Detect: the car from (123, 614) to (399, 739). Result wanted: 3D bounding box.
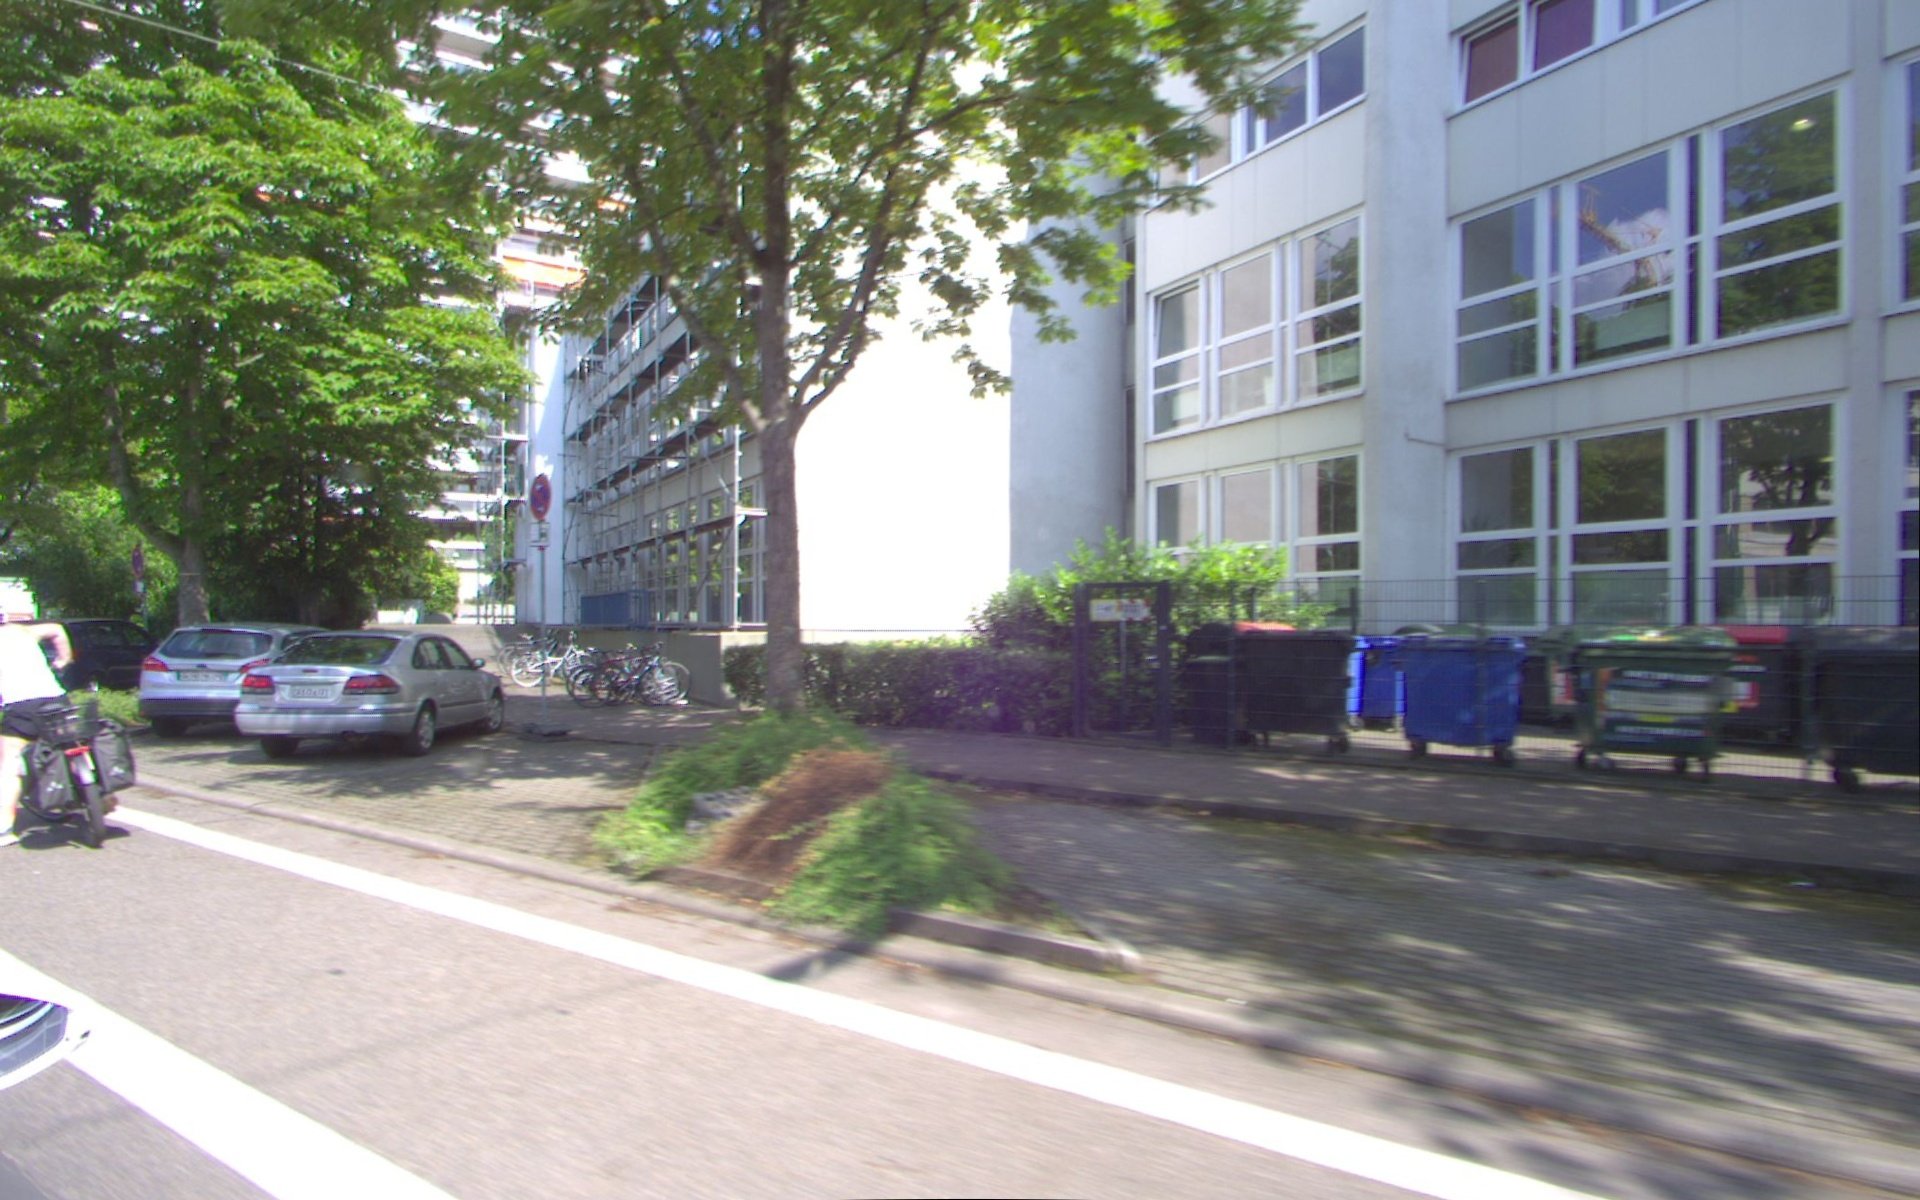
[{"bbox_3d":[-9.584,1.004,14.126,1.621,1.493,3.805,2,-2,-9],"label":"car"}]

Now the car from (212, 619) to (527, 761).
[{"bbox_3d":[-7.003,0.980,12.469,1.690,1.438,4.243,2,-1,-5],"label":"car"}]

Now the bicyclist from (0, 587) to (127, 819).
[{"bbox_3d":[-6.695,0.705,7.172,1.072,1.548,0.887,-1,-2,39],"label":"bicyclist"}]

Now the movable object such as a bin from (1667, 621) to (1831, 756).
[{"bbox_3d":[9.559,1.013,12.147,1.362,1.466,1.254,-1,1,-36],"label":"movable object such as a bin"}]

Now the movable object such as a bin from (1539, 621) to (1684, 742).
[{"bbox_3d":[8.776,1.041,13.498,1.362,1.466,1.254,-1,1,-36],"label":"movable object such as a bin"}]

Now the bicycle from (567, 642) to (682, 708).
[{"bbox_3d":[-5.938,1.305,17.765,1.873,1.067,0.449,0,1,-27],"label":"bicycle"}]

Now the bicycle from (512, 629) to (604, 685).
[{"bbox_3d":[-8.617,1.209,21.502,1.804,1.111,0.449,0,3,-27],"label":"bicycle"}]

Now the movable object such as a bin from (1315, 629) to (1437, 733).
[{"bbox_3d":[6.050,1.136,14.565,1.201,1.356,1.252,-2,1,-42],"label":"movable object such as a bin"}]

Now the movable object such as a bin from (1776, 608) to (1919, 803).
[{"bbox_3d":[8.001,0.865,8.548,1.448,1.558,1.273,0,-2,32],"label":"movable object such as a bin"}]

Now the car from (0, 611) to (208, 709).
[{"bbox_3d":[-15.187,0.963,17.647,1.586,1.506,3.995,0,0,-13],"label":"car"}]

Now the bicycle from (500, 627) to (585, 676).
[{"bbox_3d":[-9.791,1.194,23.506,1.805,1.110,0.449,1,0,-27],"label":"bicycle"}]

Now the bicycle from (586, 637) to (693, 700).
[{"bbox_3d":[-6.014,1.268,18.819,1.873,1.110,0.449,0,1,-27],"label":"bicycle"}]

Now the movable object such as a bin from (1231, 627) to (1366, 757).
[{"bbox_3d":[3.852,1.003,11.359,1.218,1.352,1.274,0,-3,31],"label":"movable object such as a bin"}]

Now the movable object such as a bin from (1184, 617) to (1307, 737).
[{"bbox_3d":[3.773,0.993,13.252,1.250,1.500,0.932,2,-1,-30],"label":"movable object such as a bin"}]

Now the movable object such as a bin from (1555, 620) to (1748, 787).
[{"bbox_3d":[6.688,0.963,9.805,1.330,1.455,1.276,1,-2,25],"label":"movable object such as a bin"}]

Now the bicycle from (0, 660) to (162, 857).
[{"bbox_3d":[-6.544,1.038,7.135,2.109,1.140,0.872,0,-2,39],"label":"bicycle"}]

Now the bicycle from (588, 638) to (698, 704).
[{"bbox_3d":[-5.796,1.282,18.371,1.873,1.110,0.449,0,1,-27],"label":"bicycle"}]

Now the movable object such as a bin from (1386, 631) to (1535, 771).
[{"bbox_3d":[5.322,1.017,10.619,1.339,1.352,1.274,0,-2,31],"label":"movable object such as a bin"}]

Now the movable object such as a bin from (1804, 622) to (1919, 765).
[{"bbox_3d":[10.244,0.982,10.823,1.194,1.474,1.444,2,-2,-34],"label":"movable object such as a bin"}]

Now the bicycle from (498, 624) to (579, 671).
[{"bbox_3d":[-10.324,1.162,24.567,1.805,1.110,0.449,0,1,-27],"label":"bicycle"}]
